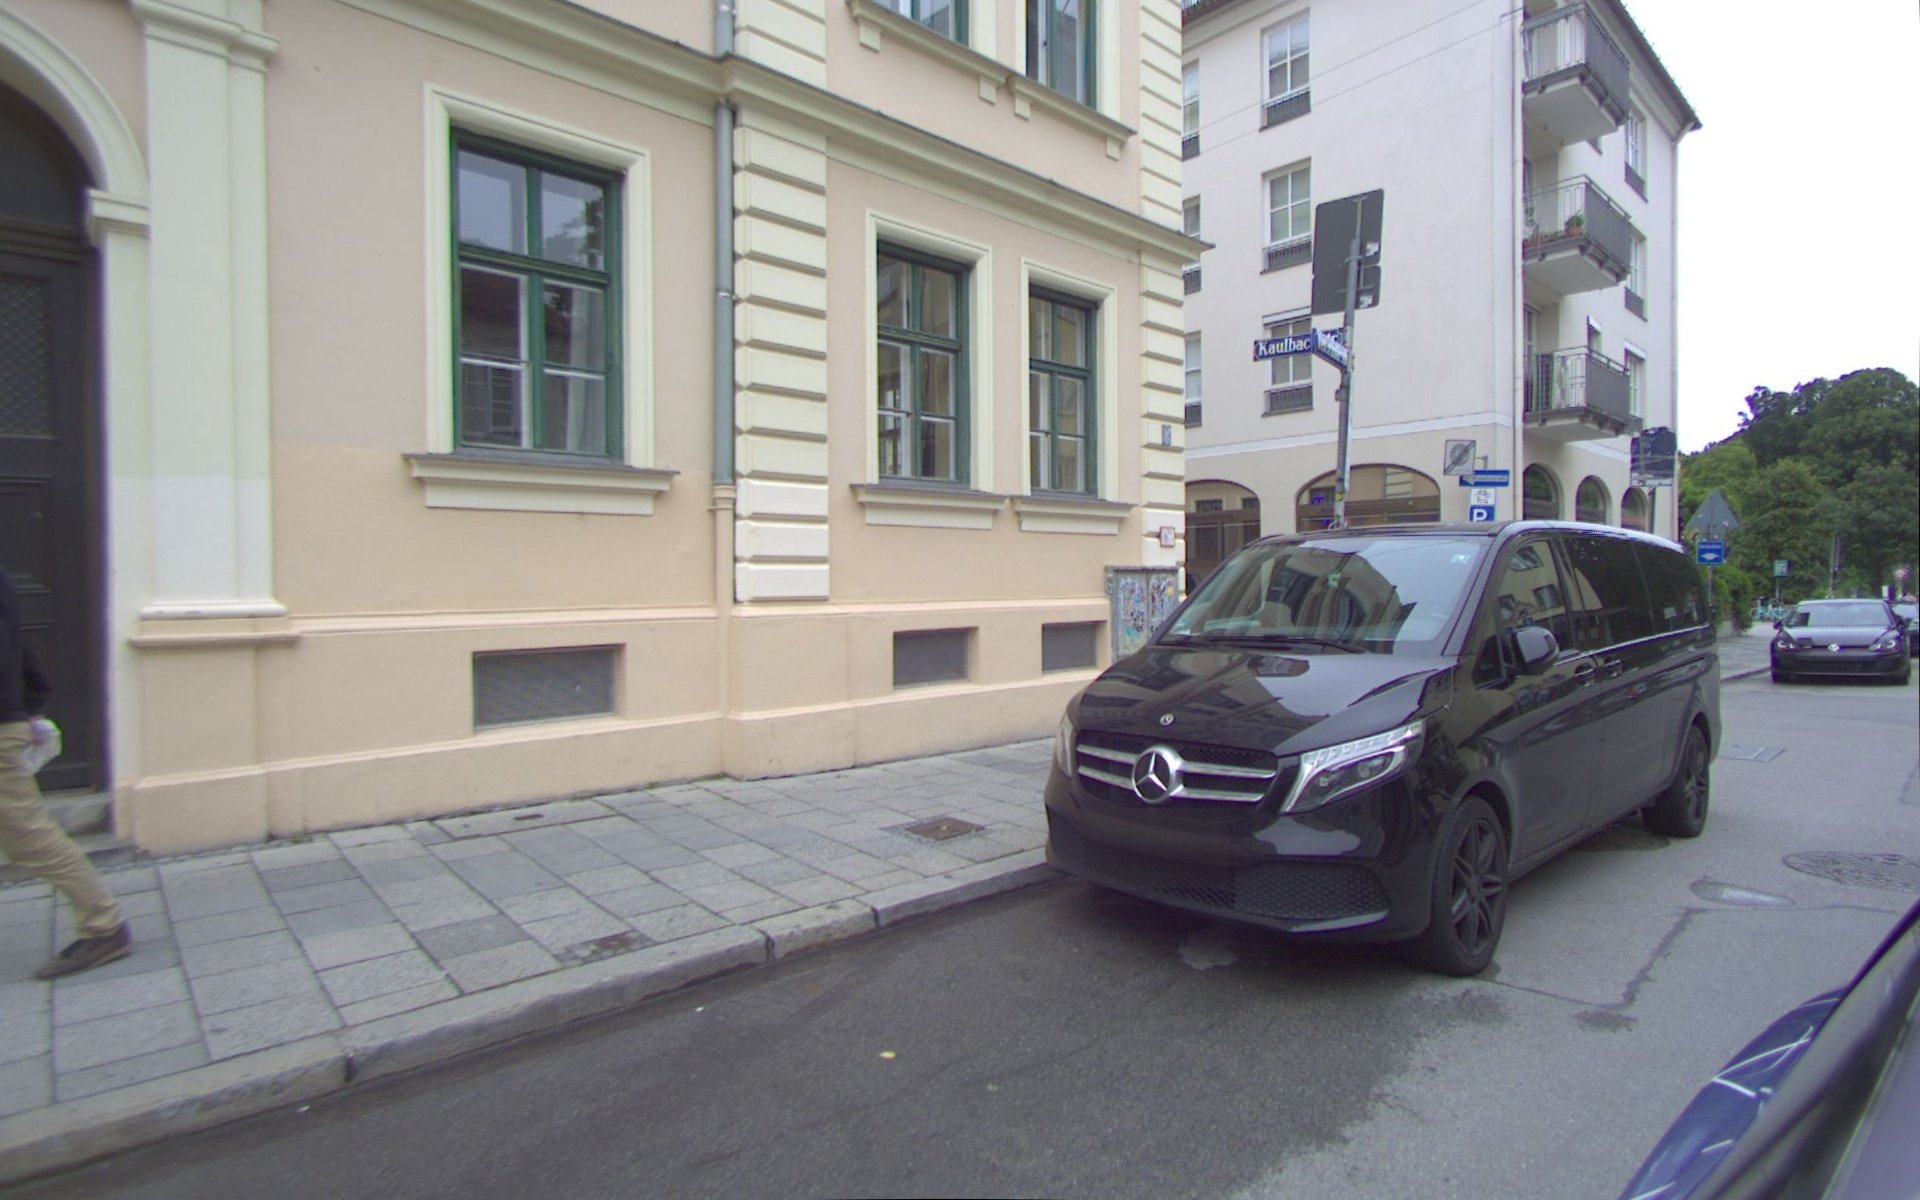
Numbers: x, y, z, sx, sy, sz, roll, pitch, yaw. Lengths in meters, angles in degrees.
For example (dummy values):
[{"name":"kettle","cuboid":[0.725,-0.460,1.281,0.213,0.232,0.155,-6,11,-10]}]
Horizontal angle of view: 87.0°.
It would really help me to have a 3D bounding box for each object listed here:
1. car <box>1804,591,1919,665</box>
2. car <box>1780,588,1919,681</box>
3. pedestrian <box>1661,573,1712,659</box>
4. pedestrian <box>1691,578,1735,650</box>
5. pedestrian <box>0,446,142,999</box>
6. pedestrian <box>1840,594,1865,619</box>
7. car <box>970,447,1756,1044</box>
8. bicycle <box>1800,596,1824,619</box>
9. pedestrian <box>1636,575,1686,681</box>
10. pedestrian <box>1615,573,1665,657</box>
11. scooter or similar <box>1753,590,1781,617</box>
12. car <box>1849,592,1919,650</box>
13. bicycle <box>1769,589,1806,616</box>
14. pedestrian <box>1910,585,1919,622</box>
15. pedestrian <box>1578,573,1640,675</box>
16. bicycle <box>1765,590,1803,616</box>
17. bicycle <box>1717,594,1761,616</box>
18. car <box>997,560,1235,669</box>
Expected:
[{"name":"car","cuboid":[19.657,0.574,21.900,4.435,1.443,1.646,0,-2,-44]},{"name":"car","cuboid":[15.785,0.563,17.789,1.675,1.443,4.135,-3,-2,45]},{"name":"pedestrian","cuboid":[14.797,0.307,20.612,0.866,1.682,0.705,-2,2,-44]},{"name":"pedestrian","cuboid":[17.870,0.310,24.010,0.866,1.642,0.705,-2,2,-44]},{"name":"pedestrian","cuboid":[-3.386,0.388,3.328,0.987,1.738,0.719,-2,2,-44]},{"name":"pedestrian","cuboid":[45.450,0.338,51.544,0.882,1.251,0.543,-1,-3,37]},{"name":"car","cuboid":[2.632,0.431,5.681,5.162,1.888,2.000,-1,0,-42]},{"name":"bicycle","cuboid":[41.519,0.376,49.305,1.620,1.051,0.308,2,0,-28]},{"name":"pedestrian","cuboid":[11.376,0.421,16.421,1.052,1.645,0.472,-2,2,-44]},{"name":"pedestrian","cuboid":[14.206,0.291,21.144,0.866,1.682,0.705,-2,2,-44]},{"name":"scooter or similar","cuboid":[38.050,0.153,47.713,0.317,1.228,1.119,1,0,-6]},{"name":"car","cuboid":[25.031,0.513,26.784,4.578,1.428,1.804,0,0,-43]},{"name":"bicycle","cuboid":[39.712,0.131,48.571,1.622,1.213,0.169,3,0,-1]},{"name":"pedestrian","cuboid":[44.782,0.167,47.172,0.958,1.709,0.653,4,-4,-42]},{"name":"pedestrian","cuboid":[10.880,0.378,16.962,0.963,1.640,0.659,-2,2,-44]},{"name":"bicycle","cuboid":[39.719,0.138,48.770,1.622,1.206,0.203,3,0,-1]},{"name":"bicycle","cuboid":[37.787,0.230,49.129,1.636,1.006,0.246,3,0,24]},{"name":"car","cuboid":[3.025,0.259,20.346,1.942,1.941,4.443,3,-2,-44]}]
